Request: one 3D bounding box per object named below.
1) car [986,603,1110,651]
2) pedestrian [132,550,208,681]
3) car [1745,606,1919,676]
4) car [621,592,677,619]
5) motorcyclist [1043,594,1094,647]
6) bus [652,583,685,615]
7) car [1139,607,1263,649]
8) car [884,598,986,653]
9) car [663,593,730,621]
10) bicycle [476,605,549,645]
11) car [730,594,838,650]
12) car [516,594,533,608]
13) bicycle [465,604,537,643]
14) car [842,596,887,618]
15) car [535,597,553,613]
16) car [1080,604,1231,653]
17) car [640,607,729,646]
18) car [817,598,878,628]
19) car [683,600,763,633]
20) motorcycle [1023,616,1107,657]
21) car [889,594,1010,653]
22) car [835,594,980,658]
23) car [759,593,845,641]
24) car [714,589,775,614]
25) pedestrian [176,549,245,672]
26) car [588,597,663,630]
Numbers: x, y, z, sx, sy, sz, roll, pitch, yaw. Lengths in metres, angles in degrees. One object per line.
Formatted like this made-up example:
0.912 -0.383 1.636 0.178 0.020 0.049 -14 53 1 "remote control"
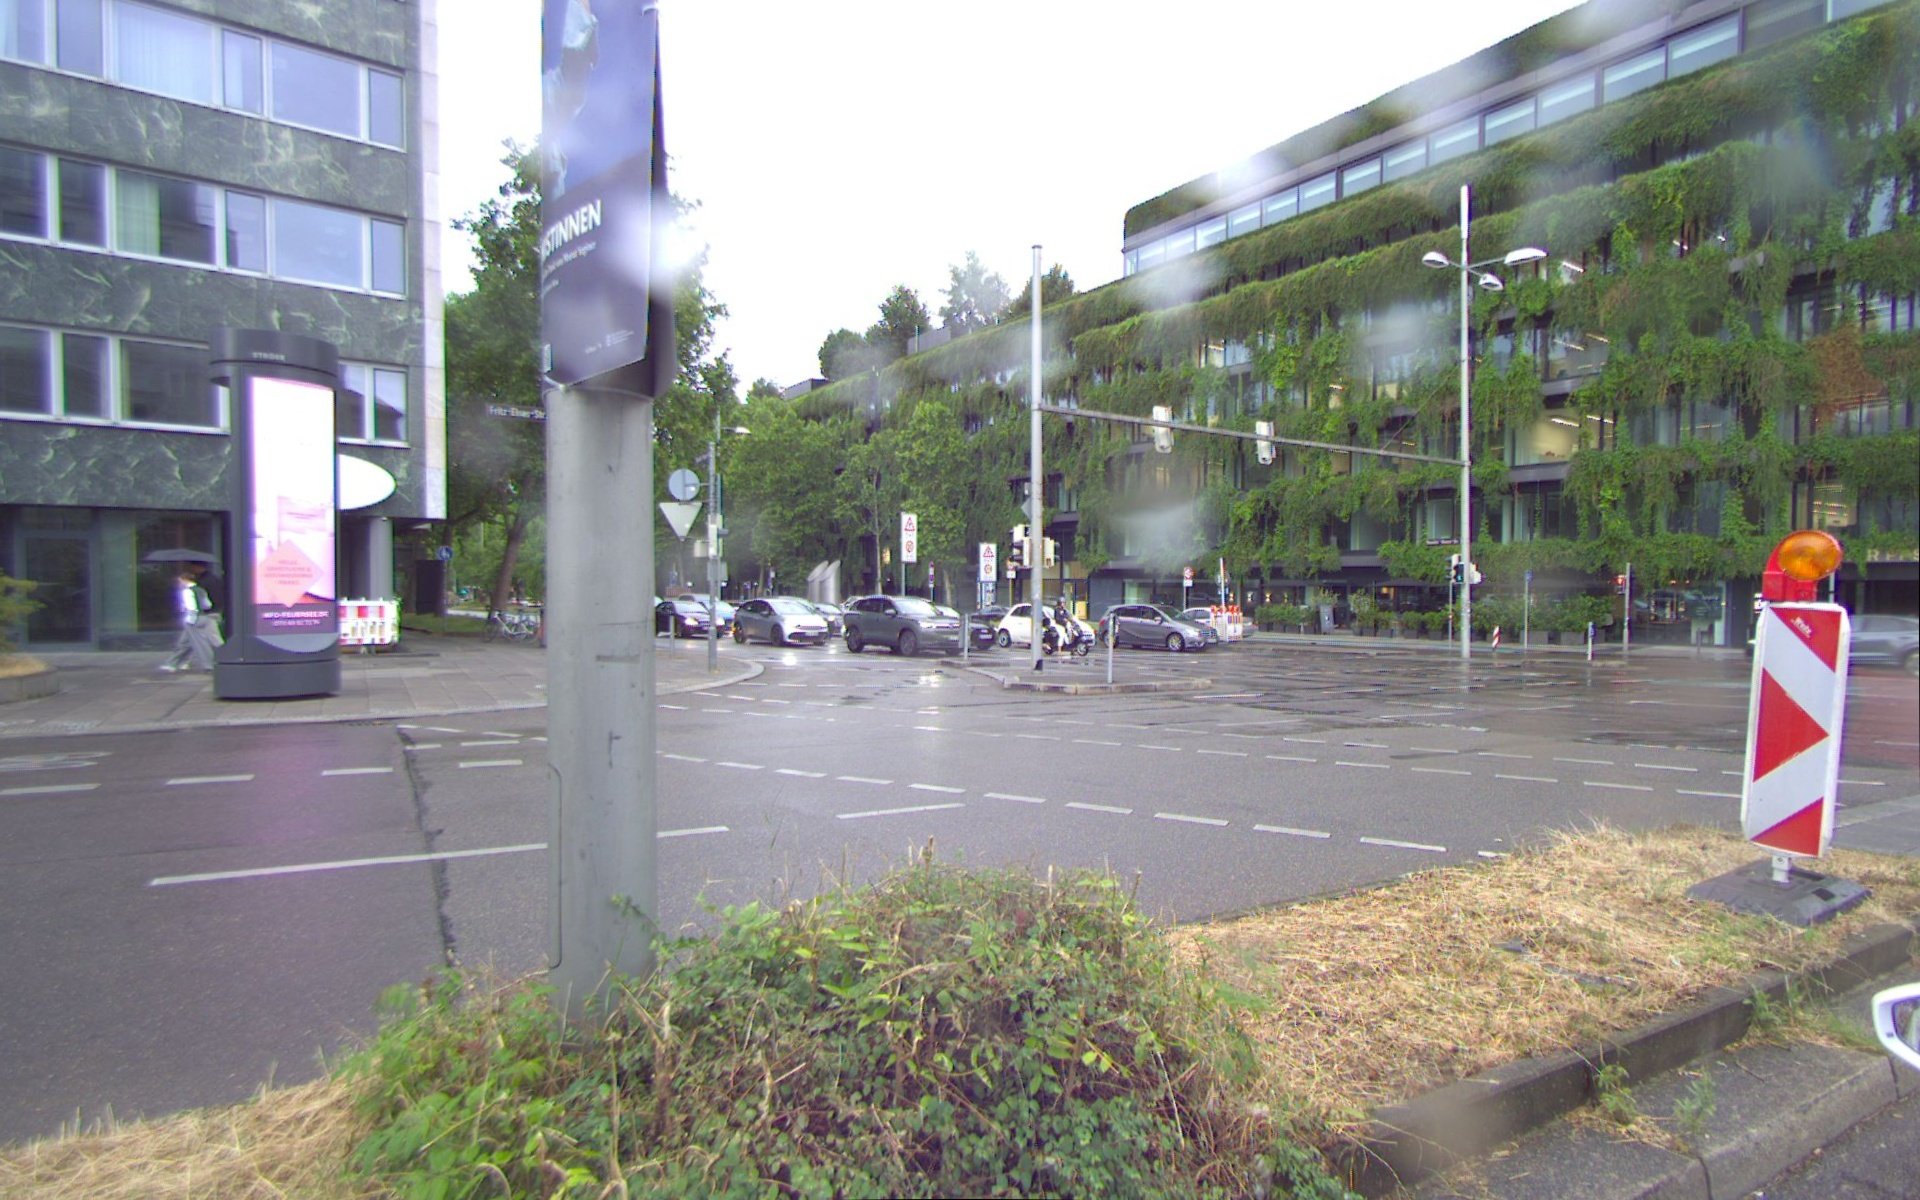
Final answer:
2.877 0.859 33.463 1.981 1.495 3.958 1 0 -37 "car"
-12.536 0.243 15.959 0.715 2.040 0.598 1 0 -10 "pedestrian"
23.267 1.039 26.011 1.820 1.630 4.429 2 0 -45 "car"
-18.678 0.339 60.208 1.918 1.544 4.057 1 0 -38 "car"
3.138 0.584 28.990 1.153 1.492 0.832 2 0 40 "motorcyclist"
-32.012 -0.141 110.233 1.783 3.385 5.922 2 0 -34 "bus"
9.832 1.102 41.256 1.986 1.497 4.674 0 1 -43 "car"
-1.006 0.916 37.762 1.978 1.923 4.139 1 0 -33 "car"
-13.924 0.343 52.923 1.982 1.389 4.131 1 0 -37 "car"
-12.306 0.683 27.650 1.765 1.066 0.581 1 0 -35 "bicycle"
-6.014 0.702 34.033 1.982 1.773 3.956 1 0 -38 "car"
-62.746 0.155 144.785 1.975 2.040 3.972 1 0 -27 "car"
-12.973 0.668 28.410 1.765 1.066 0.581 1 0 -35 "bicycle"
-7.360 0.497 77.245 1.783 1.588 3.962 2 0 -34 "car"
-57.193 0.661 138.159 1.975 2.040 3.972 2 0 -27 "car"
6.623 0.936 34.408 4.842 1.508 1.922 1 0 45 "car"
-10.897 1.008 39.623 1.982 1.389 4.131 1 0 -37 "car"
-6.618 0.734 58.828 1.834 1.692 3.958 1 0 -37 "car"
-10.671 0.703 45.021 1.982 1.389 4.131 1 0 -37 "car"
3.026 1.051 29.078 2.331 1.068 0.830 2 0 41 "motorcycle"
-0.392 0.712 32.550 1.981 1.773 3.958 1 0 -37 "car"
-1.605 0.704 29.161 1.984 1.709 4.314 1 0 -41 "car"
-6.287 0.645 39.668 1.841 1.791 4.139 1 0 -32 "car"
-14.633 0.107 68.080 1.799 1.532 4.636 2 0 -45 "car"
-12.764 0.180 17.116 0.715 2.040 0.598 1 0 -10 "pedestrian"
-15.031 0.572 45.034 1.982 1.389 4.131 1 0 -37 "car"
